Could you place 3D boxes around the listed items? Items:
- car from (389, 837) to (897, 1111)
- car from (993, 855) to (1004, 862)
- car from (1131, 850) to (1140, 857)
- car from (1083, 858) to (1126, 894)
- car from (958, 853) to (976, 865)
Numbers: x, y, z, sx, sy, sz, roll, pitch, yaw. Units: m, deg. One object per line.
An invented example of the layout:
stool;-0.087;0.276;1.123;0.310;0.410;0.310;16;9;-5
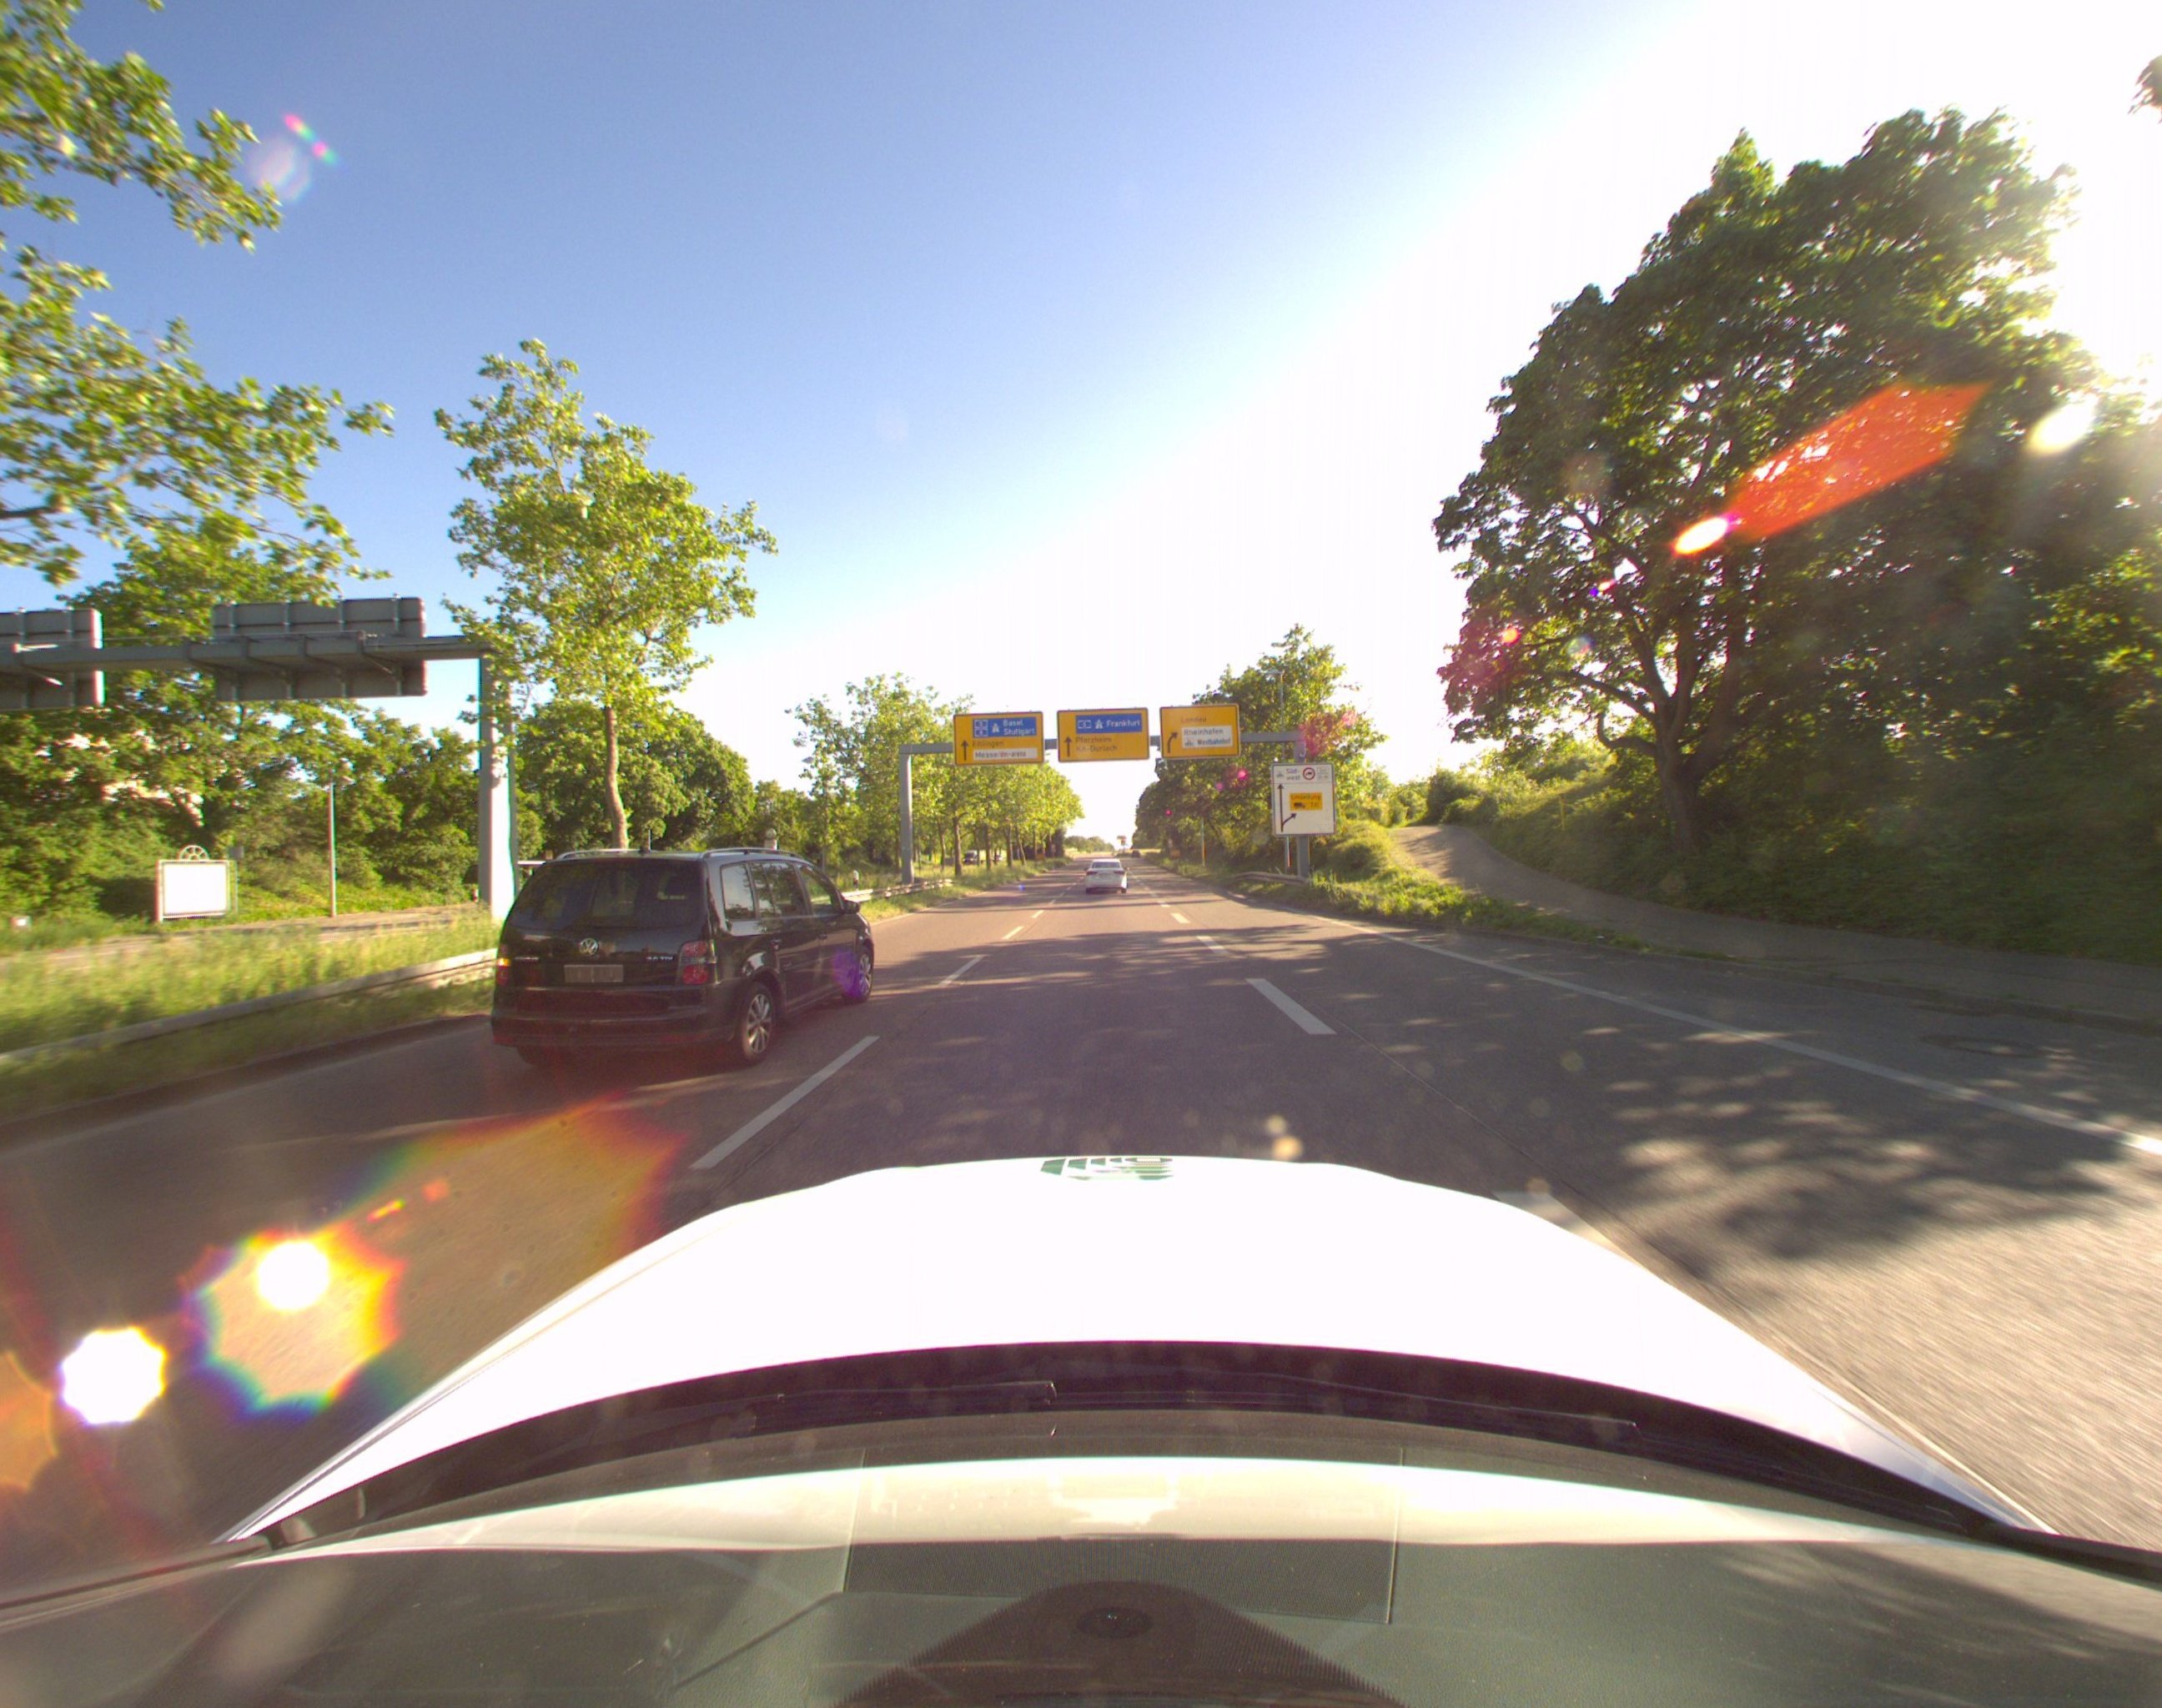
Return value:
car;-3.213;0.750;7.389;1.760;1.644;4.926;0;-1;2
car;-16.939;0.876;167.569;1.761;1.464;4.368;-2;0;2
car;10.914;-0.082;164.129;1.760;1.464;4.370;-2;0;4
car;1.103;0.930;36.682;1.760;1.464;4.369;-2;0;2
car;-19.380;0.799;138.683;2.126;1.902;5.744;-2;0;2
